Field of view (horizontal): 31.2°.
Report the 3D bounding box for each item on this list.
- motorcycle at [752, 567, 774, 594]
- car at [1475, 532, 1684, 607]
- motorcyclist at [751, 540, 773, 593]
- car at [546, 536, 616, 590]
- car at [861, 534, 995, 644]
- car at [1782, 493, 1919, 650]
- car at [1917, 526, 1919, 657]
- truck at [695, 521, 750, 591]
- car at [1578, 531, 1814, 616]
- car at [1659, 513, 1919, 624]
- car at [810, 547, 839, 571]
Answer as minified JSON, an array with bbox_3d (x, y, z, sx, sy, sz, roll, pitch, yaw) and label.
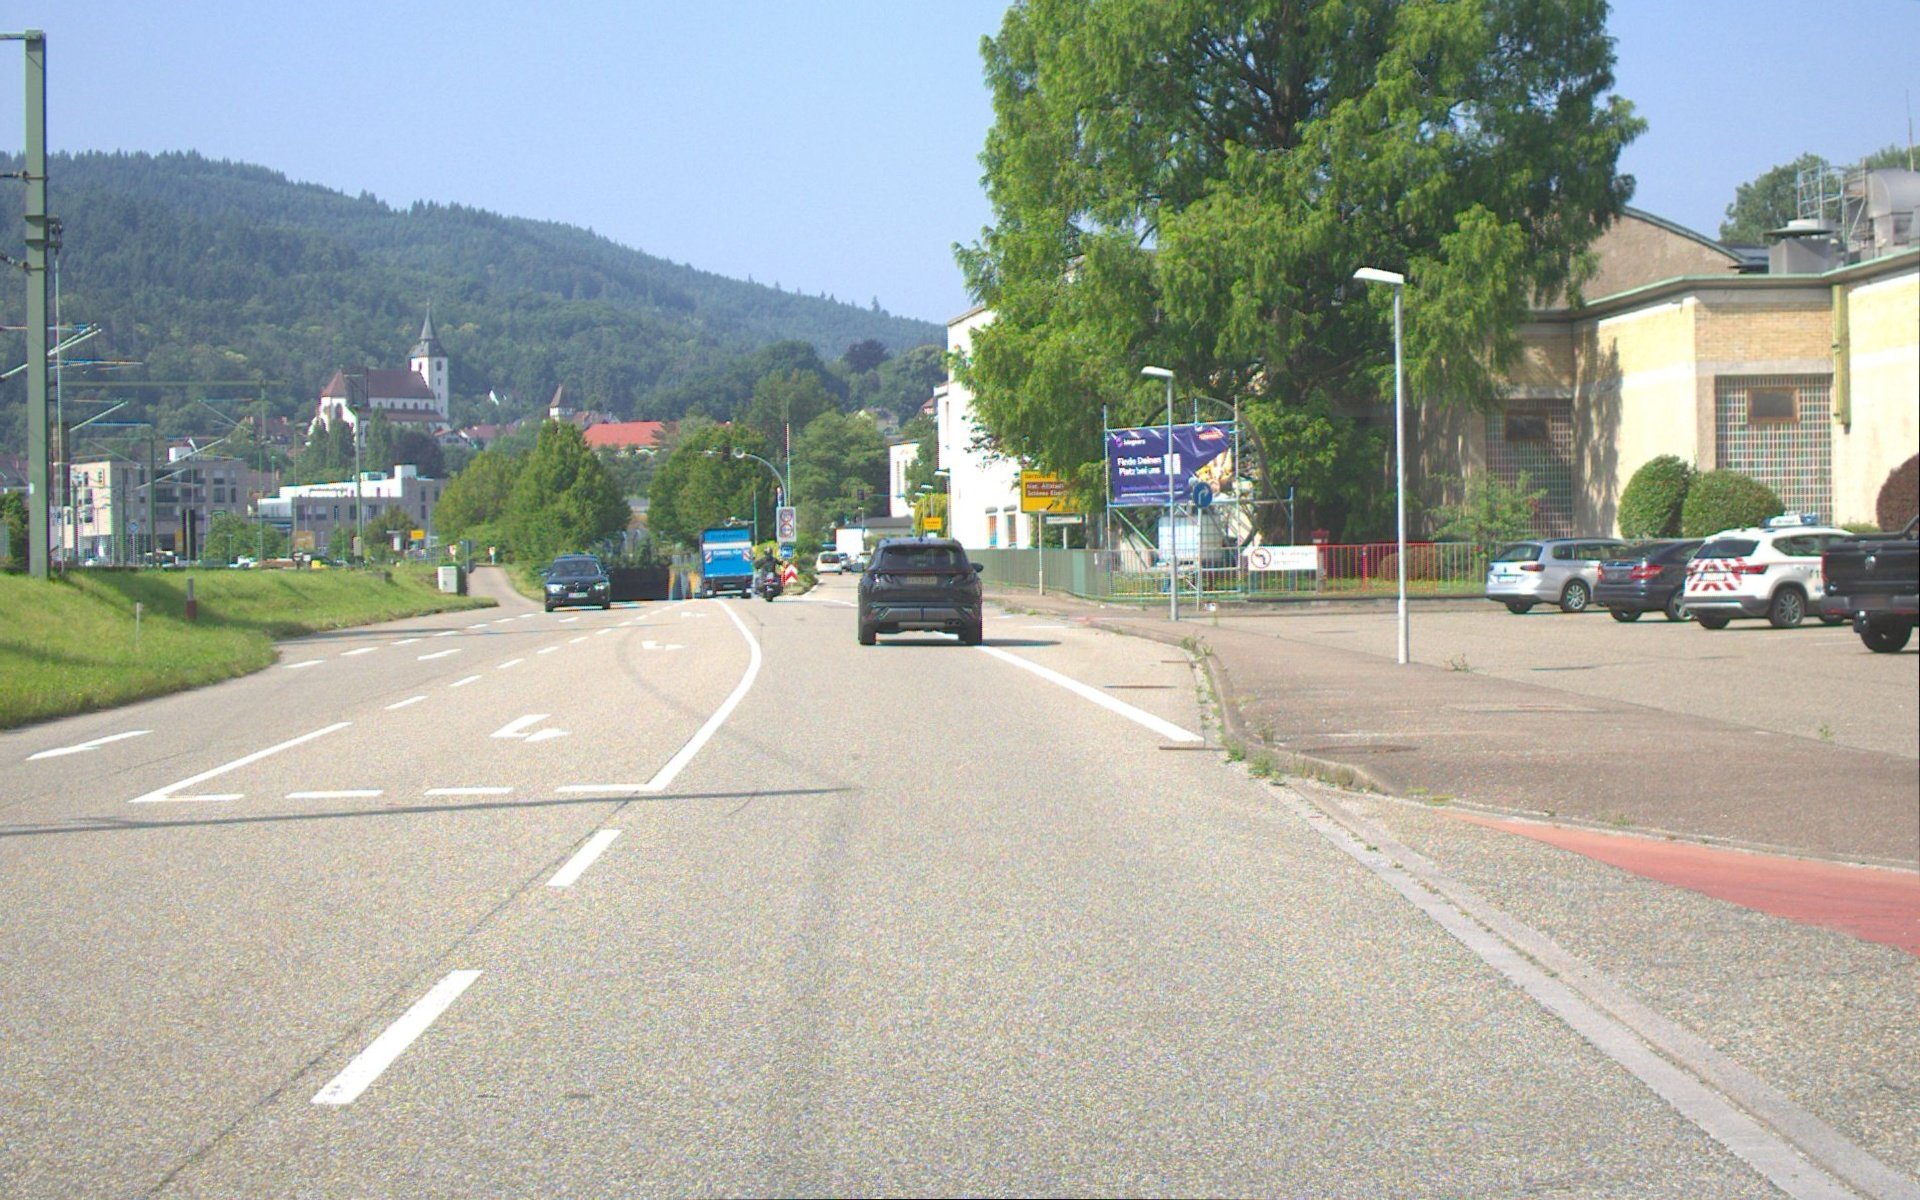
[{"bbox_3d":[-5.614,-0.564,98.091,0.606,0.751,1.415,-1,1,-2],"label":"motorcycle"},{"bbox_3d":[12.257,-0.615,67.970,3.987,1.396,1.664,-1,1,-33],"label":"car"},{"bbox_3d":[-5.653,-0.958,98.089,0.606,1.515,0.863,-1,1,-2],"label":"motorcyclist"},{"bbox_3d":[-10.278,-1.018,93.396,1.755,1.424,4.001,-1,1,-4],"label":"car"},{"bbox_3d":[-0.538,-0.197,53.373,1.919,1.634,4.001,-1,1,-3],"label":"car"},{"bbox_3d":[12.689,-0.395,42.255,5.020,1.826,1.983,-2,1,-30],"label":"car"},{"bbox_3d":[13.141,-0.139,39.487,3.987,1.499,1.886,-2,1,-30],"label":"car"},{"bbox_3d":[-10.332,-1.940,149.312,2.312,2.960,5.967,-1,1,-4],"label":"truck"},{"bbox_3d":[12.787,-0.476,59.682,3.987,1.396,1.664,-1,1,-33],"label":"car"},{"bbox_3d":[13.201,-0.513,54.004,4.160,1.666,1.870,-1,1,-31],"label":"car"},{"bbox_3d":[-8.693,-2.628,220.547,1.767,1.481,4.000,0,0,-1],"label":"car"}]
